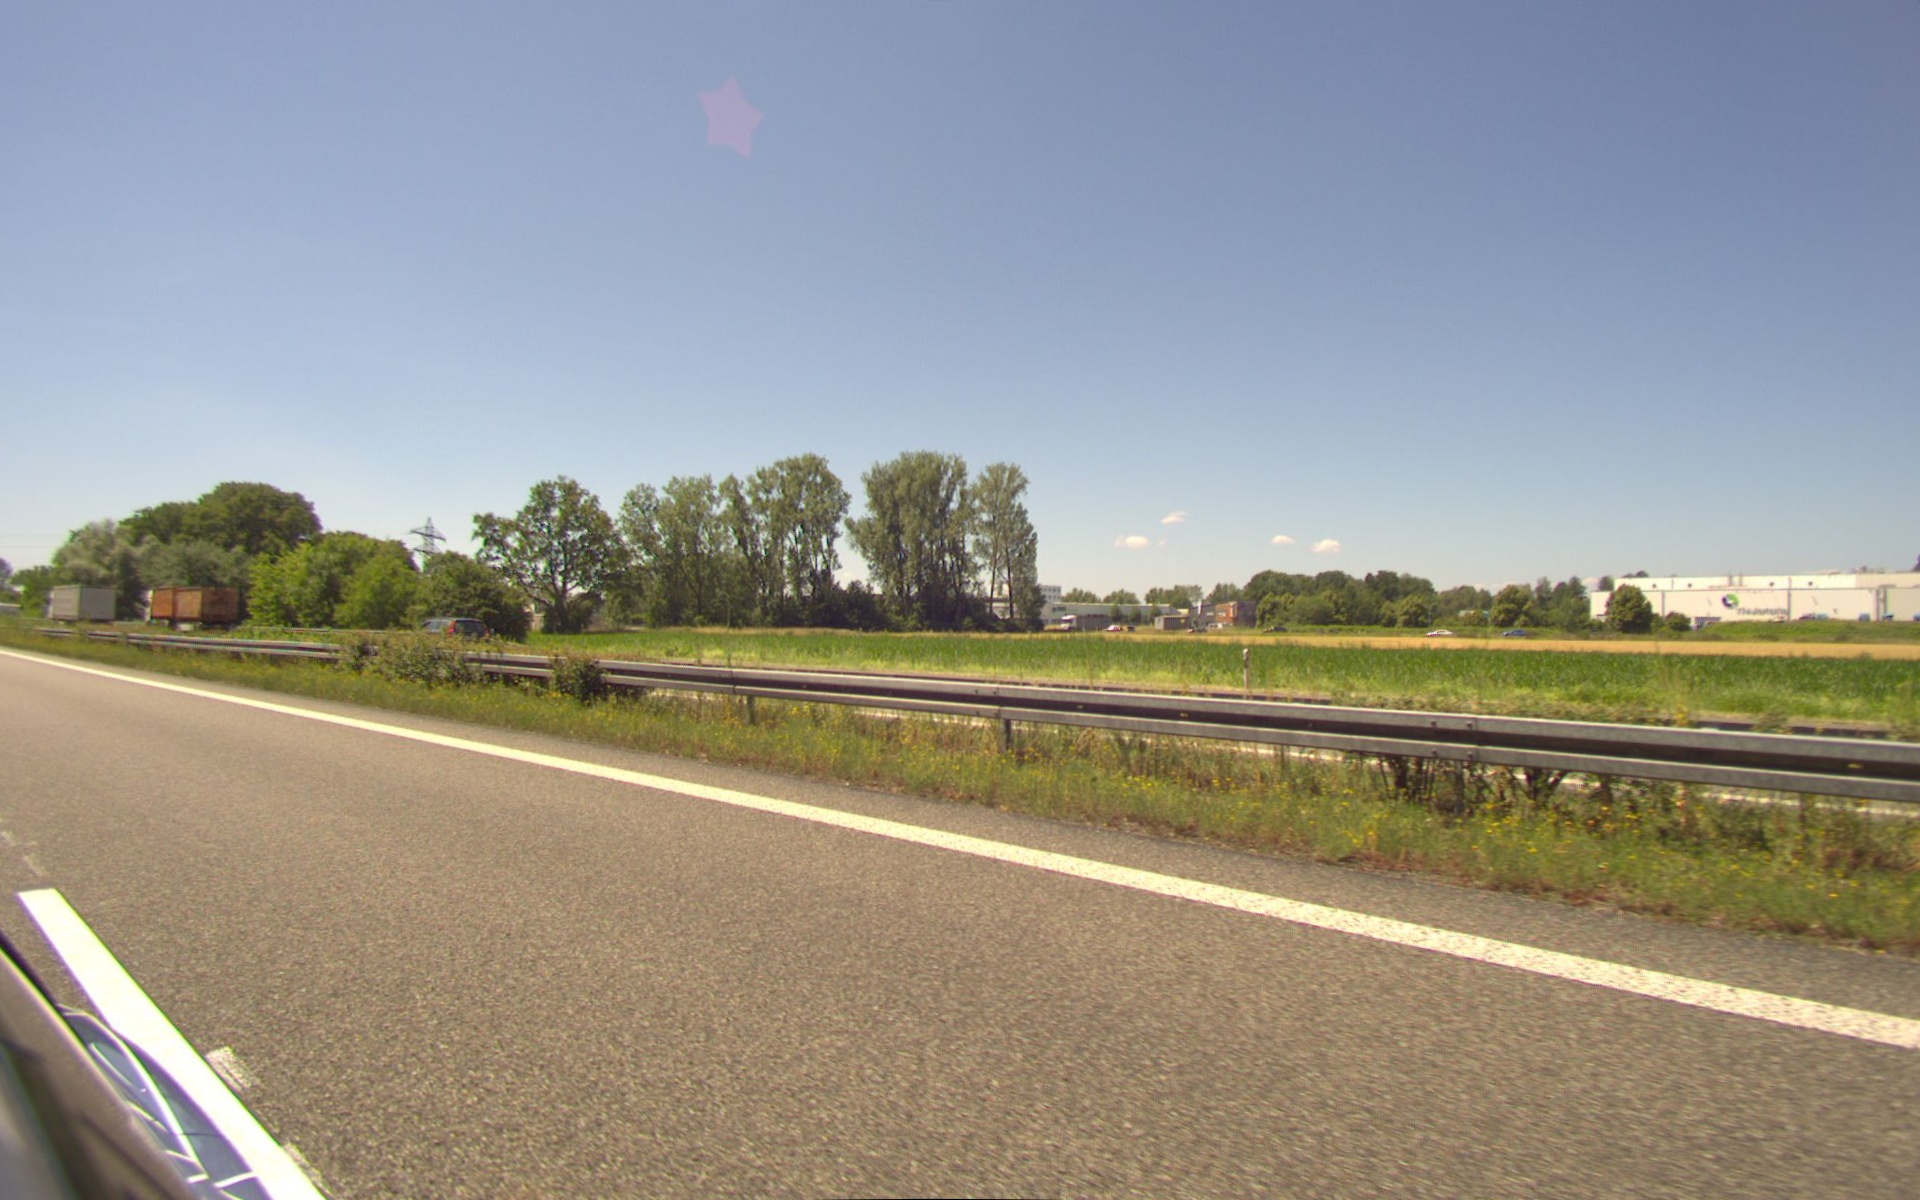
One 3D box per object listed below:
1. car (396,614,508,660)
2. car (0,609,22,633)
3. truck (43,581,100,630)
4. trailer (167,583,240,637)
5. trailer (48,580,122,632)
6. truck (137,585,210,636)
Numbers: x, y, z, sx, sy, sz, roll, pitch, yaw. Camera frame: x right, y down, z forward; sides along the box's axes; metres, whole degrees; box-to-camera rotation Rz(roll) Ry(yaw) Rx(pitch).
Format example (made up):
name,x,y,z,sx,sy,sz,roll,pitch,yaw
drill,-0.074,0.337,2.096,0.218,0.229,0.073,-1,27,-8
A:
name,x,y,z,sx,sy,sz,roll,pitch,yaw
car,-19.836,1.414,39.406,5.550,1.693,1.972,-1,-2,42
car,-124.177,2.702,131.653,8.084,3.005,2.519,-1,-2,43
truck,-84.706,0.570,96.444,6.977,4.460,3.128,0,-2,41
trailer,-59.083,0.841,78.970,8.656,3.950,2.631,-1,-4,41
trailer,-79.548,0.549,91.876,13.319,4.456,3.162,0,-2,41
truck,-66.433,0.911,85.394,10.821,3.914,2.621,-1,-4,41
